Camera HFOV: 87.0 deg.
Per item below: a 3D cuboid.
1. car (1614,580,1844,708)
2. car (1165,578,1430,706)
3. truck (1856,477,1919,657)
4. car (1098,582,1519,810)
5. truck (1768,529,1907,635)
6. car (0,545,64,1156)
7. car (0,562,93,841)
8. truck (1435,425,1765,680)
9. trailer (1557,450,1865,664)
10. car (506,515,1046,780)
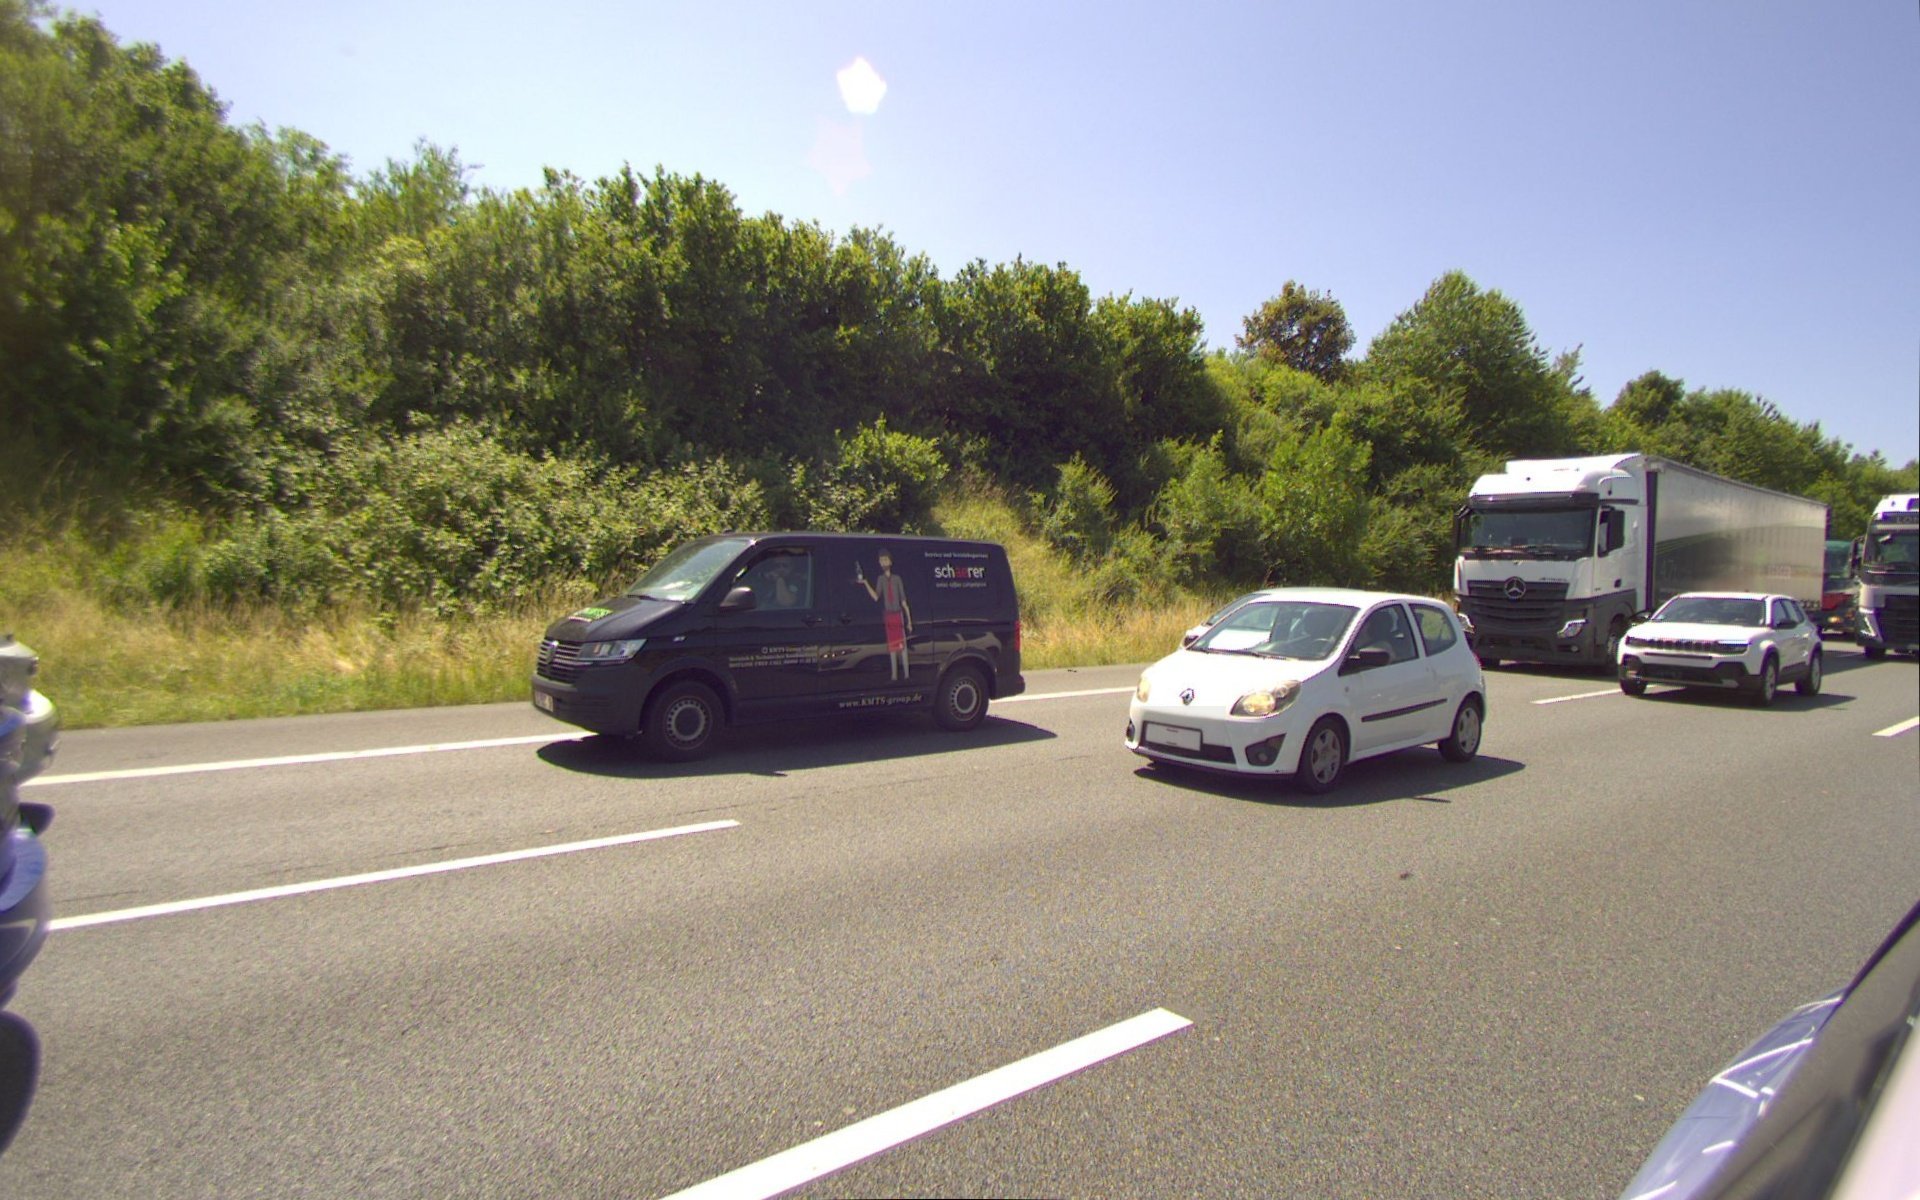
[{"bbox_3d":[11.410,0.532,14.944,3.814,1.577,1.749,-1,3,-38],"label":"car"},{"bbox_3d":[4.764,0.482,14.078,3.851,1.479,1.666,0,3,-39],"label":"car"},{"bbox_3d":[24.967,-0.770,24.948,8.206,4.044,2.751,-1,2,-37],"label":"truck"},{"bbox_3d":[3.067,0.614,8.598,3.741,1.451,1.609,-1,3,-39],"label":"car"},{"bbox_3d":[28.641,-0.590,32.959,5.571,3.185,2.301,-1,2,-37],"label":"truck"},{"bbox_3d":[-4.515,0.603,1.649,4.492,1.433,1.780,-1,4,-40],"label":"car"},{"bbox_3d":[-6.916,0.509,4.968,3.955,1.461,1.735,0,2,-39],"label":"car"},{"bbox_3d":[13.136,-0.864,20.428,8.319,4.208,2.881,-1,2,-37],"label":"truck"},{"bbox_3d":[18.695,-0.934,24.706,11.854,4.208,2.881,-1,2,-38],"label":"trailer"},{"bbox_3d":[-1.583,0.278,9.710,4.768,1.964,1.919,-1,3,-38],"label":"car"}]
